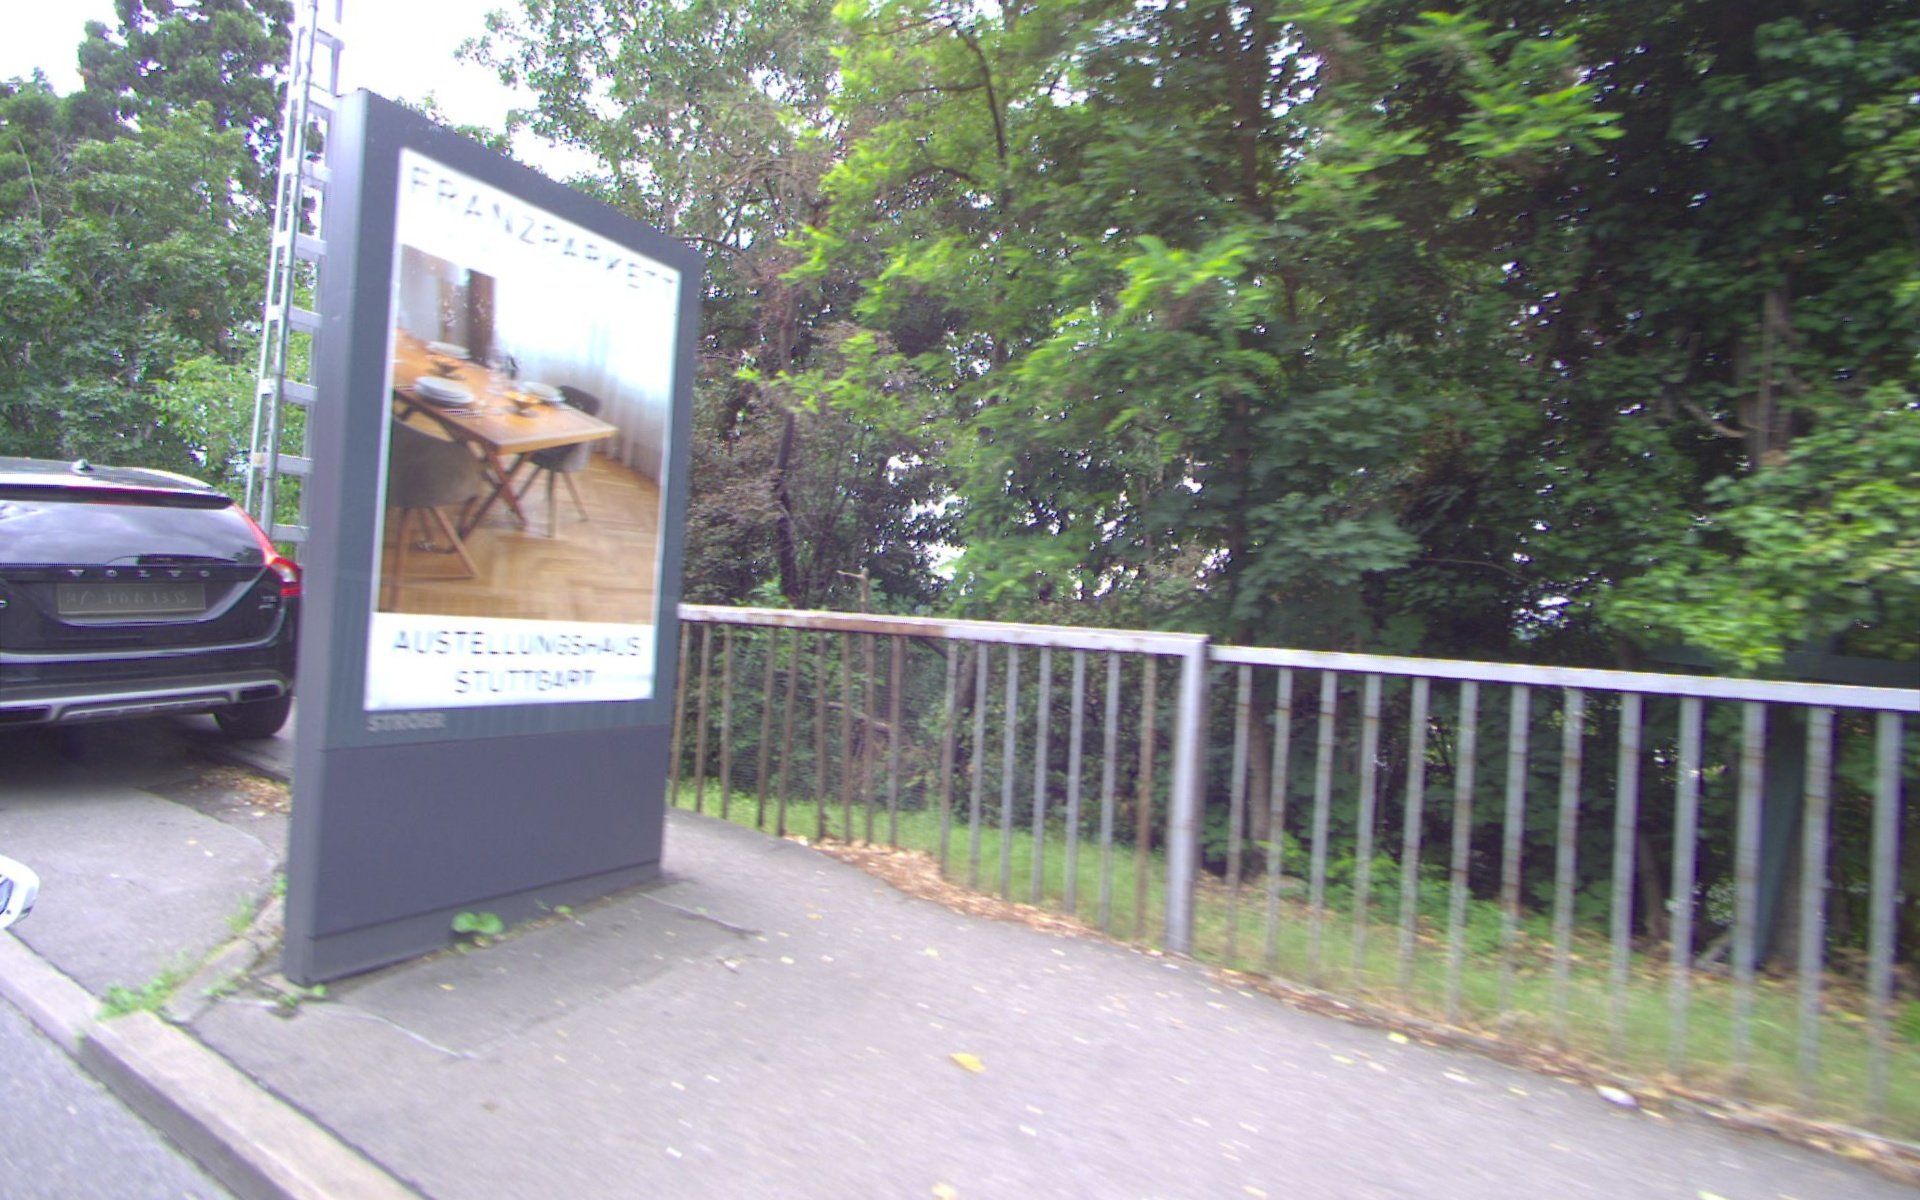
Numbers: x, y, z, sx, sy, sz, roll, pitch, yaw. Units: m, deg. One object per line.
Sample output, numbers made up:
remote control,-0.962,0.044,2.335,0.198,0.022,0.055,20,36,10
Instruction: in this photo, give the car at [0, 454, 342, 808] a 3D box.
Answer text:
car,-5.693,-0.084,5.924,4.321,1.544,1.764,7,5,32
